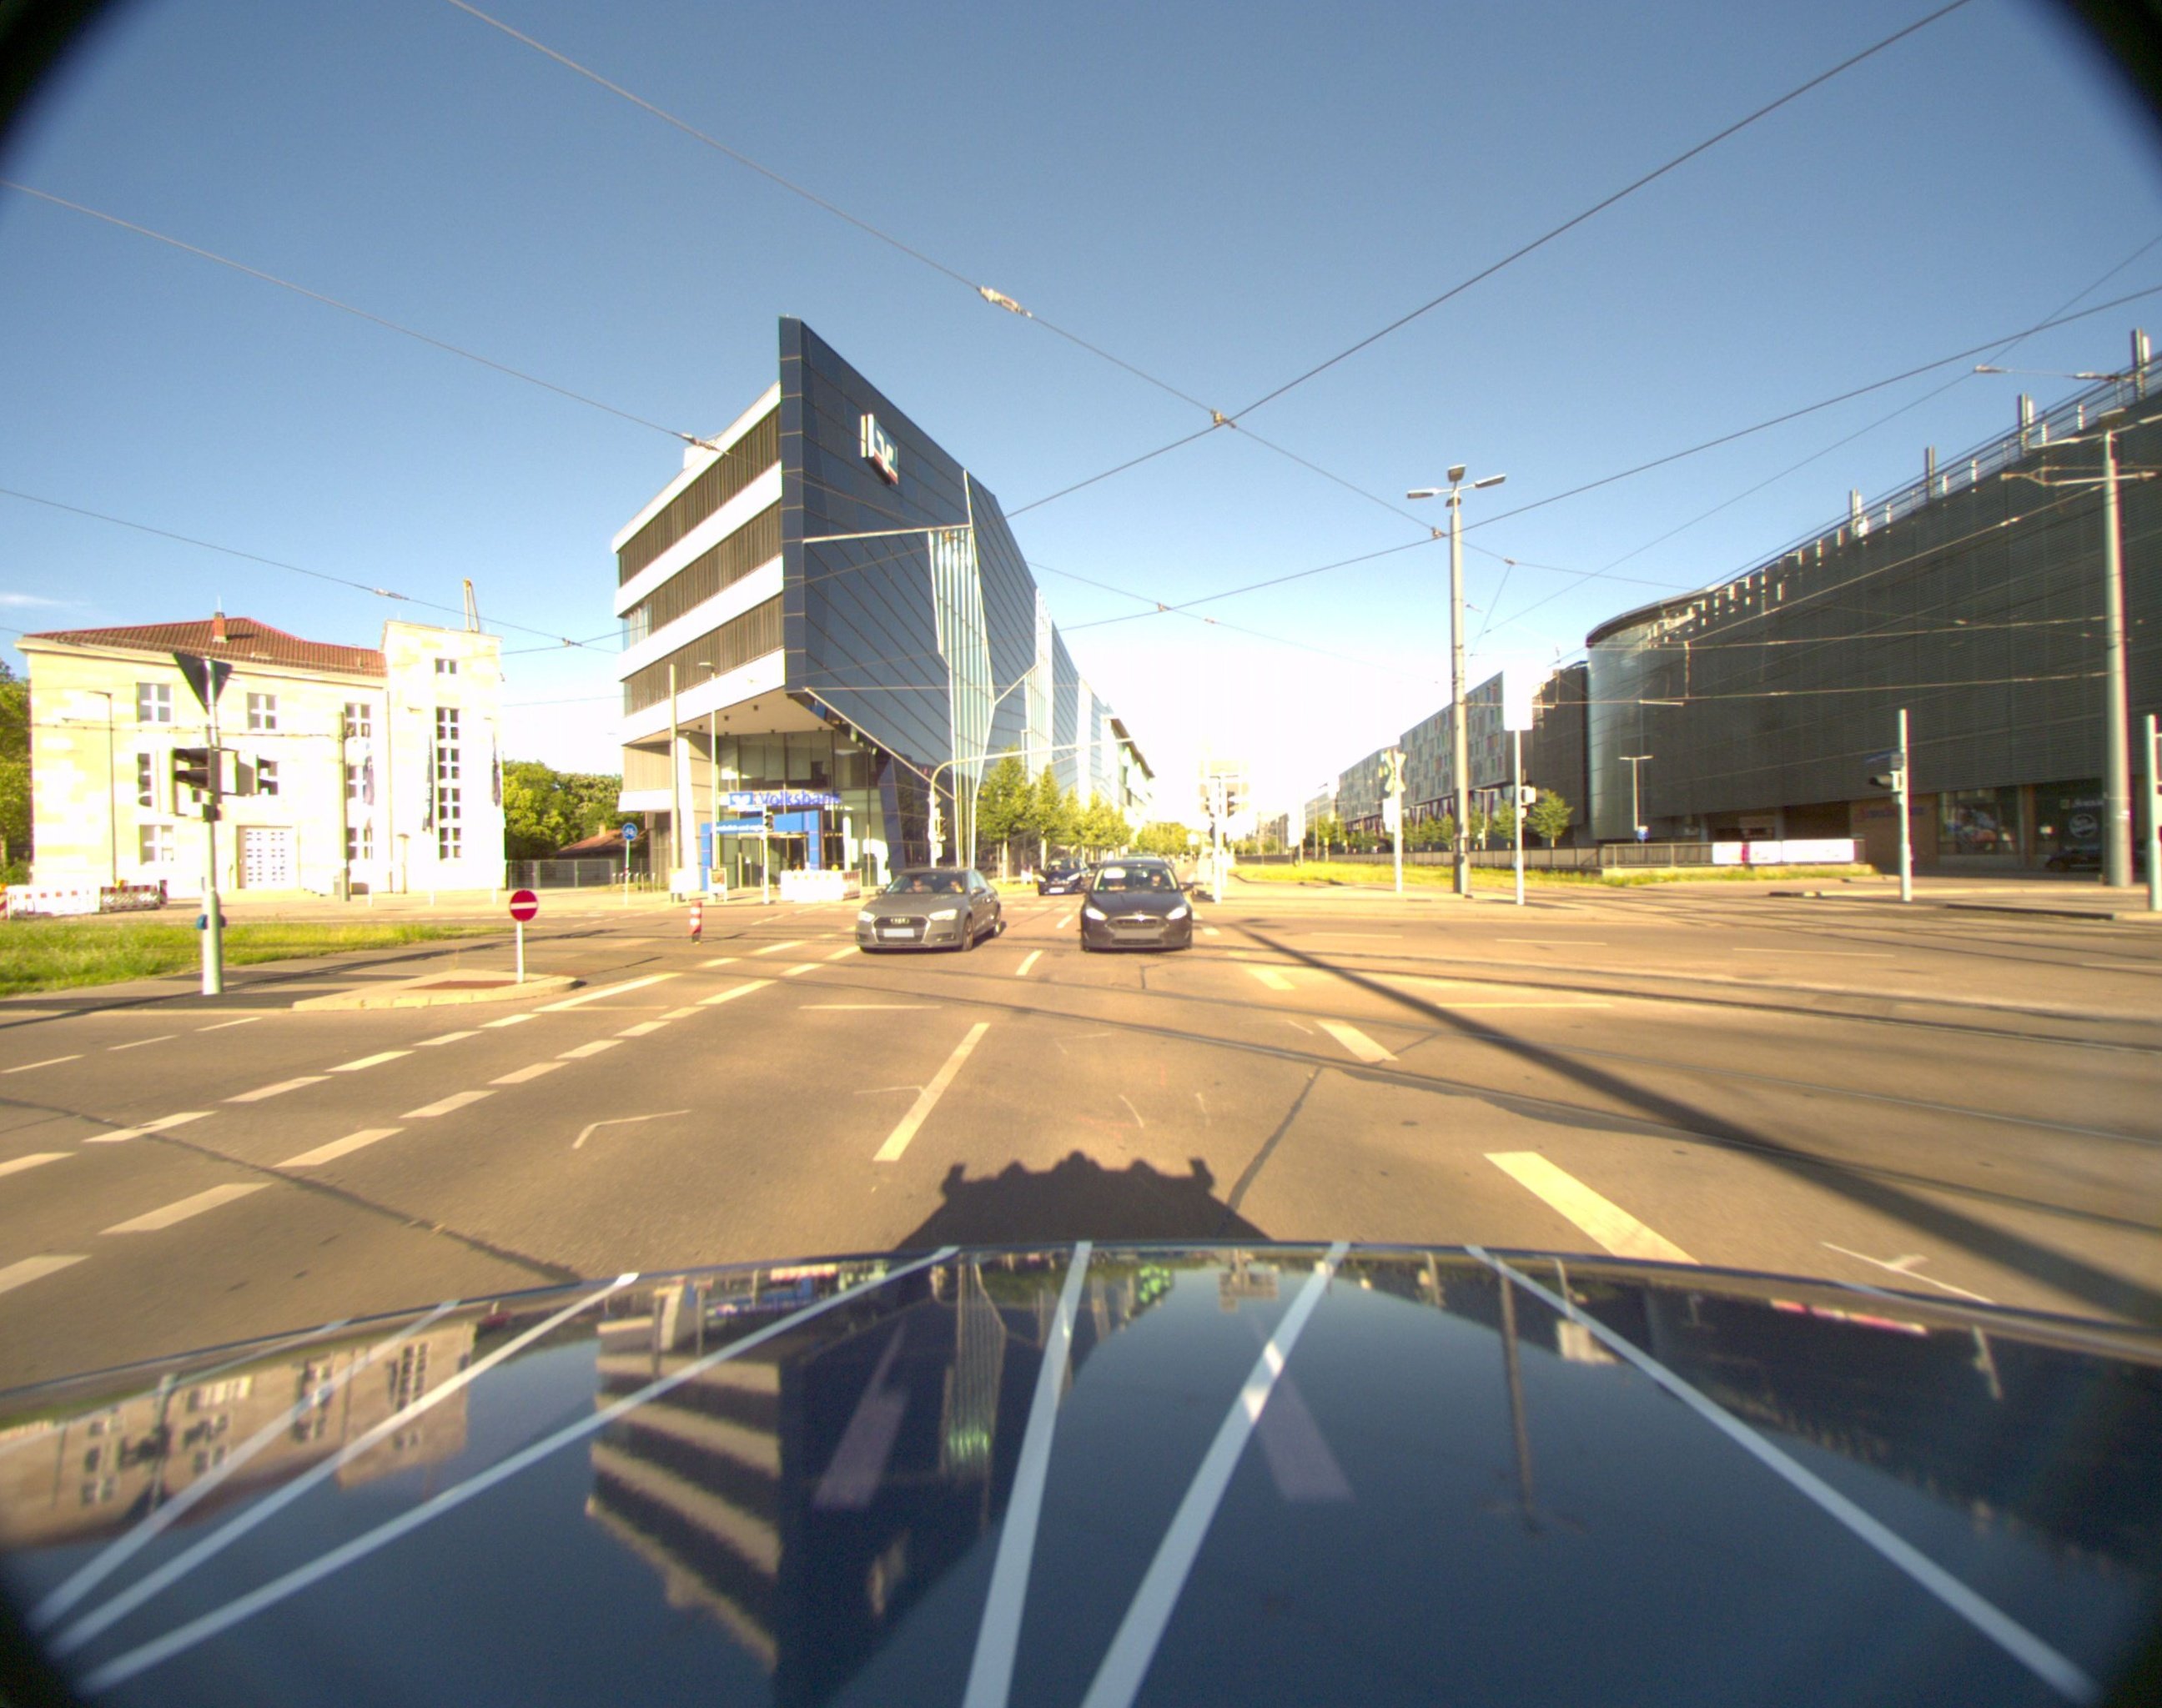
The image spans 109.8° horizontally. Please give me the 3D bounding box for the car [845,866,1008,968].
[{"bbox_3d":[-2.541,0.987,13.591,1.750,1.384,4.265,-2,0,3],"label":"car"}]

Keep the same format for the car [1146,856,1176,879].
[{"bbox_3d":[5.954,0.958,56.290,1.906,1.612,4.003,-1,0,10],"label":"car"}]

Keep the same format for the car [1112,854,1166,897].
[{"bbox_3d":[2.517,0.853,32.033,1.906,1.612,4.003,-1,0,10],"label":"car"}]

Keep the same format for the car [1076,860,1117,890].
[{"bbox_3d":[0.883,1.099,41.448,1.752,1.469,3.420,-2,0,9],"label":"car"}]

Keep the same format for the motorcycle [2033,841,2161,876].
[{"bbox_3d":[46.370,0.196,34.331,1.997,1.444,4.003,-1,0,9],"label":"motorcycle"}]

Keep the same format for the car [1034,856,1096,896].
[{"bbox_3d":[-0.587,0.845,30.854,1.752,1.469,3.975,-2,0,9],"label":"car"}]

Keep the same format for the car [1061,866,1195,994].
[{"bbox_3d":[0.982,1.074,12.695,1.786,1.499,4.591,0,2,9],"label":"car"}]
